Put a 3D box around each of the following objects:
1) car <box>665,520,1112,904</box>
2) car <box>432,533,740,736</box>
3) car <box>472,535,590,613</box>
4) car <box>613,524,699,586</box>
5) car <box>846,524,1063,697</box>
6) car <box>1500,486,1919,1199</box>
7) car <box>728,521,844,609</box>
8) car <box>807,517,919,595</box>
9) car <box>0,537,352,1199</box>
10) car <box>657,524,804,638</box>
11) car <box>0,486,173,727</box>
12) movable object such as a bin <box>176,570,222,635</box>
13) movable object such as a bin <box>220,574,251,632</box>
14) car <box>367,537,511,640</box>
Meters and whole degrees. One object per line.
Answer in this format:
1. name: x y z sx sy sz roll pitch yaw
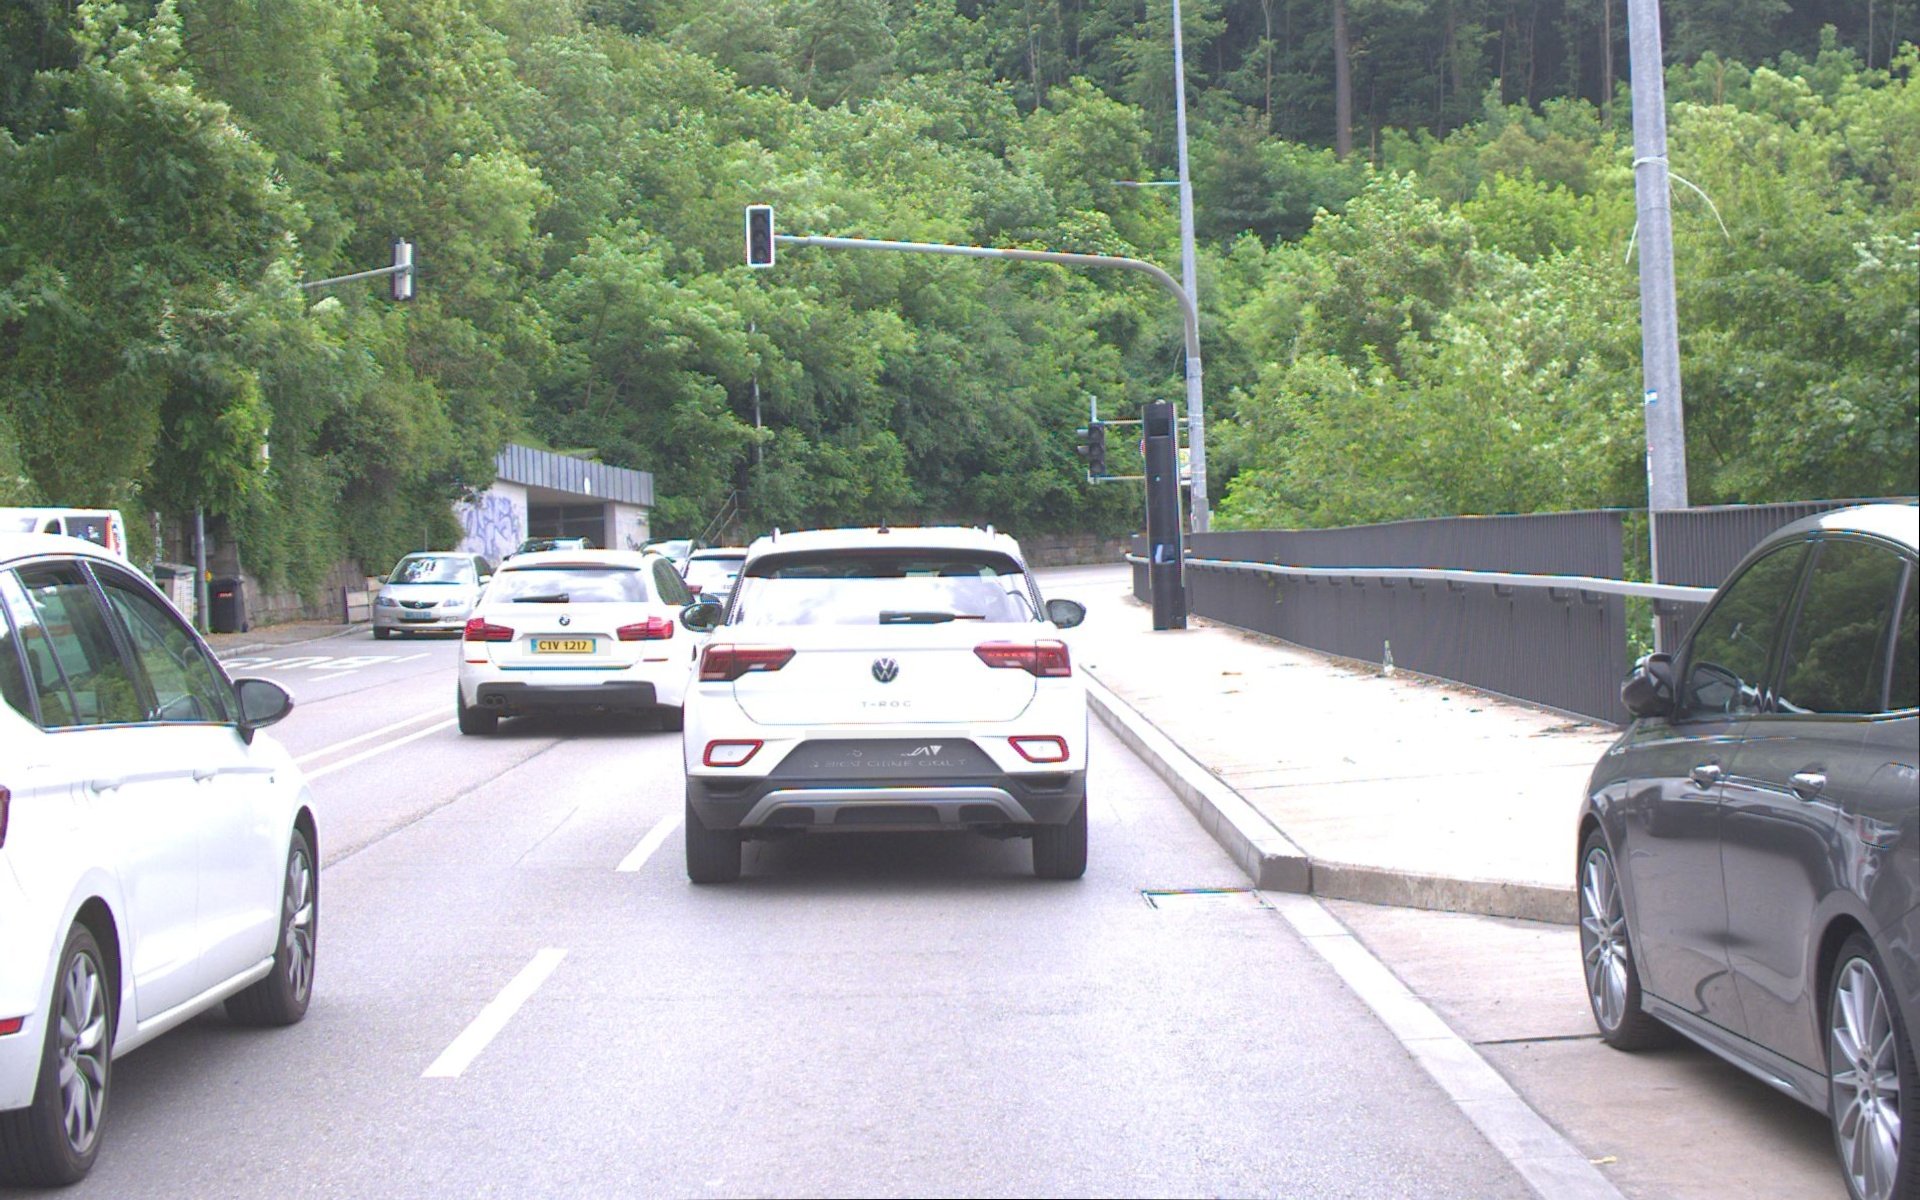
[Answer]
1. car: -0.454 0.435 16.250 1.813 1.534 4.009 -2 1 -5
2. car: -2.996 0.219 28.516 1.993 1.552 4.681 0 1 1
3. car: -9.060 -0.561 72.956 1.942 1.543 4.249 -2 1 0
4. car: -7.544 -1.146 85.629 1.781 1.477 4.212 1 1 0
5. car: 0.004 0.091 39.156 1.994 1.837 4.149 1 1 6
6. car: 2.651 0.479 8.609 1.757 1.538 4.427 -4 1 0
7. car: -3.529 -0.727 70.416 1.994 1.735 4.000 -1 1 3
8. car: -2.359 -1.095 84.432 1.994 1.858 3.999 0 1 10
9. car: -2.860 0.616 9.325 1.720 1.549 4.276 -1 1 -1
10. car: -3.333 -0.307 50.520 1.862 1.589 4.000 1 1 0
11. car: -8.735 0.026 31.194 1.921 1.998 5.356 -1 1 0
12. movable object such as a bin: -12.647 0.043 57.151 0.641 1.063 0.557 1 0 -2
13. movable object such as a bin: -12.065 0.050 57.266 0.427 0.947 0.479 1 0 -2
14. car: -8.645 -0.228 57.341 1.676 1.437 4.234 1 4 1
